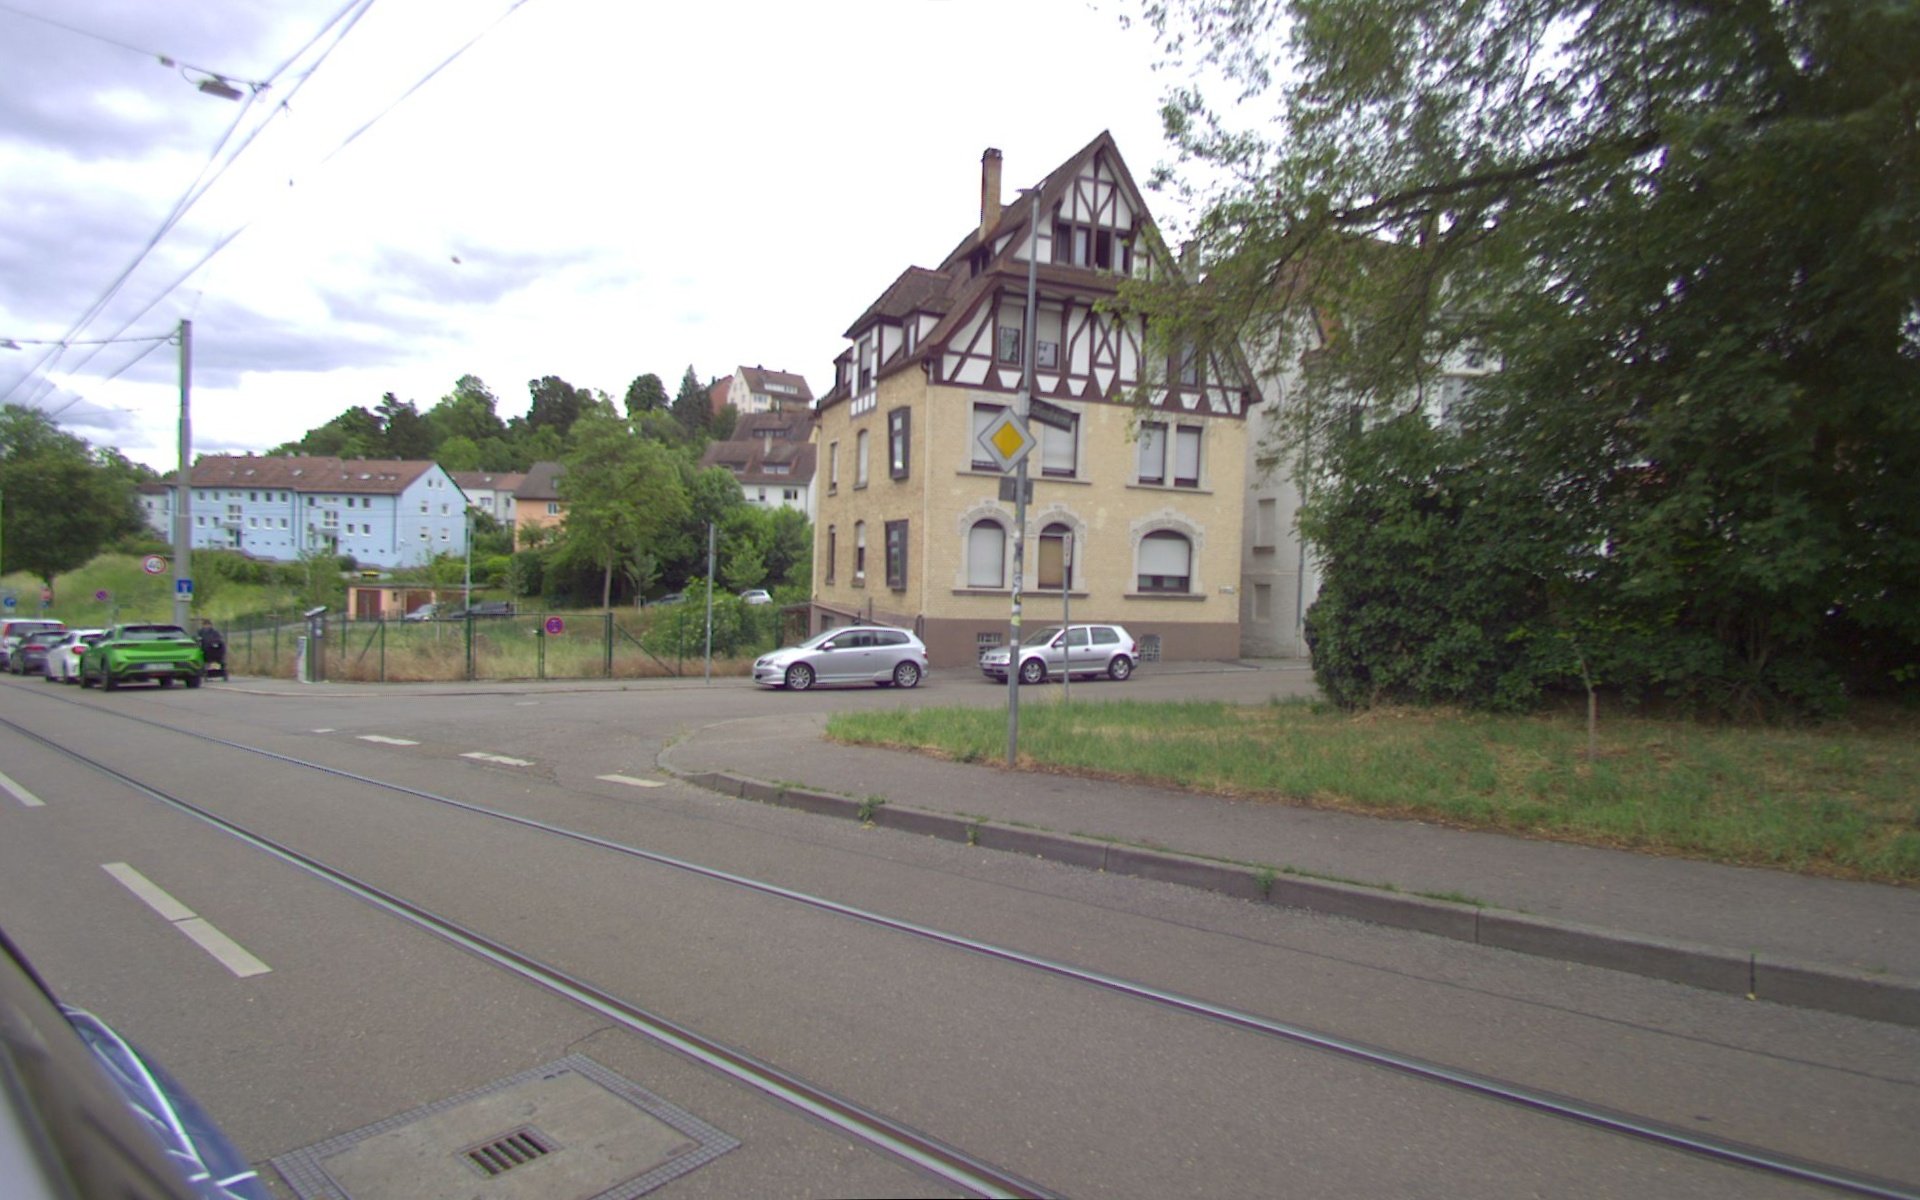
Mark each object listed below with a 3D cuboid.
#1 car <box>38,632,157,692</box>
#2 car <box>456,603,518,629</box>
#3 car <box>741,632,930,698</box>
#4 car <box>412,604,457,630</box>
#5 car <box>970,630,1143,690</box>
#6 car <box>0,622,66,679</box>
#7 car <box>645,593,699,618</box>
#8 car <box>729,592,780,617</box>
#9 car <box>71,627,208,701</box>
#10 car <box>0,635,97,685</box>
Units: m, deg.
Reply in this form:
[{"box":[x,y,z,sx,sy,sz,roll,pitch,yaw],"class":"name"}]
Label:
[{"box":[-23.396,1.642,27.409,3.946,1.505,1.832,-1,-4,41],"class":"car"},{"box":[-36.164,1.217,77.464,3.935,1.918,2.004,-1,-1,-10],"class":"car"},{"box":[-2.836,1.440,23.108,3.944,1.388,1.701,1,-2,-25],"class":"car"},{"box":[-40.464,1.302,78.031,1.967,1.918,4.008,-1,-1,-10],"class":"car"},{"box":[2.401,1.449,25.250,3.979,1.388,1.701,1,-2,-25],"class":"car"},{"box":[-33.912,1.797,36.491,4.288,1.961,1.877,-1,-4,41],"class":"car"},{"box":[-22.753,0.453,80.165,3.935,1.918,2.004,-1,-1,-10],"class":"car"},{"box":[-16.522,0.387,81.566,3.935,1.918,2.004,-1,-1,-10],"class":"car"},{"box":[-19.253,1.448,23.687,3.946,1.552,1.832,-2,-2,41],"class":"car"},{"box":[-29.704,1.926,32.959,3.946,1.505,1.832,-1,-4,41],"class":"car"}]
